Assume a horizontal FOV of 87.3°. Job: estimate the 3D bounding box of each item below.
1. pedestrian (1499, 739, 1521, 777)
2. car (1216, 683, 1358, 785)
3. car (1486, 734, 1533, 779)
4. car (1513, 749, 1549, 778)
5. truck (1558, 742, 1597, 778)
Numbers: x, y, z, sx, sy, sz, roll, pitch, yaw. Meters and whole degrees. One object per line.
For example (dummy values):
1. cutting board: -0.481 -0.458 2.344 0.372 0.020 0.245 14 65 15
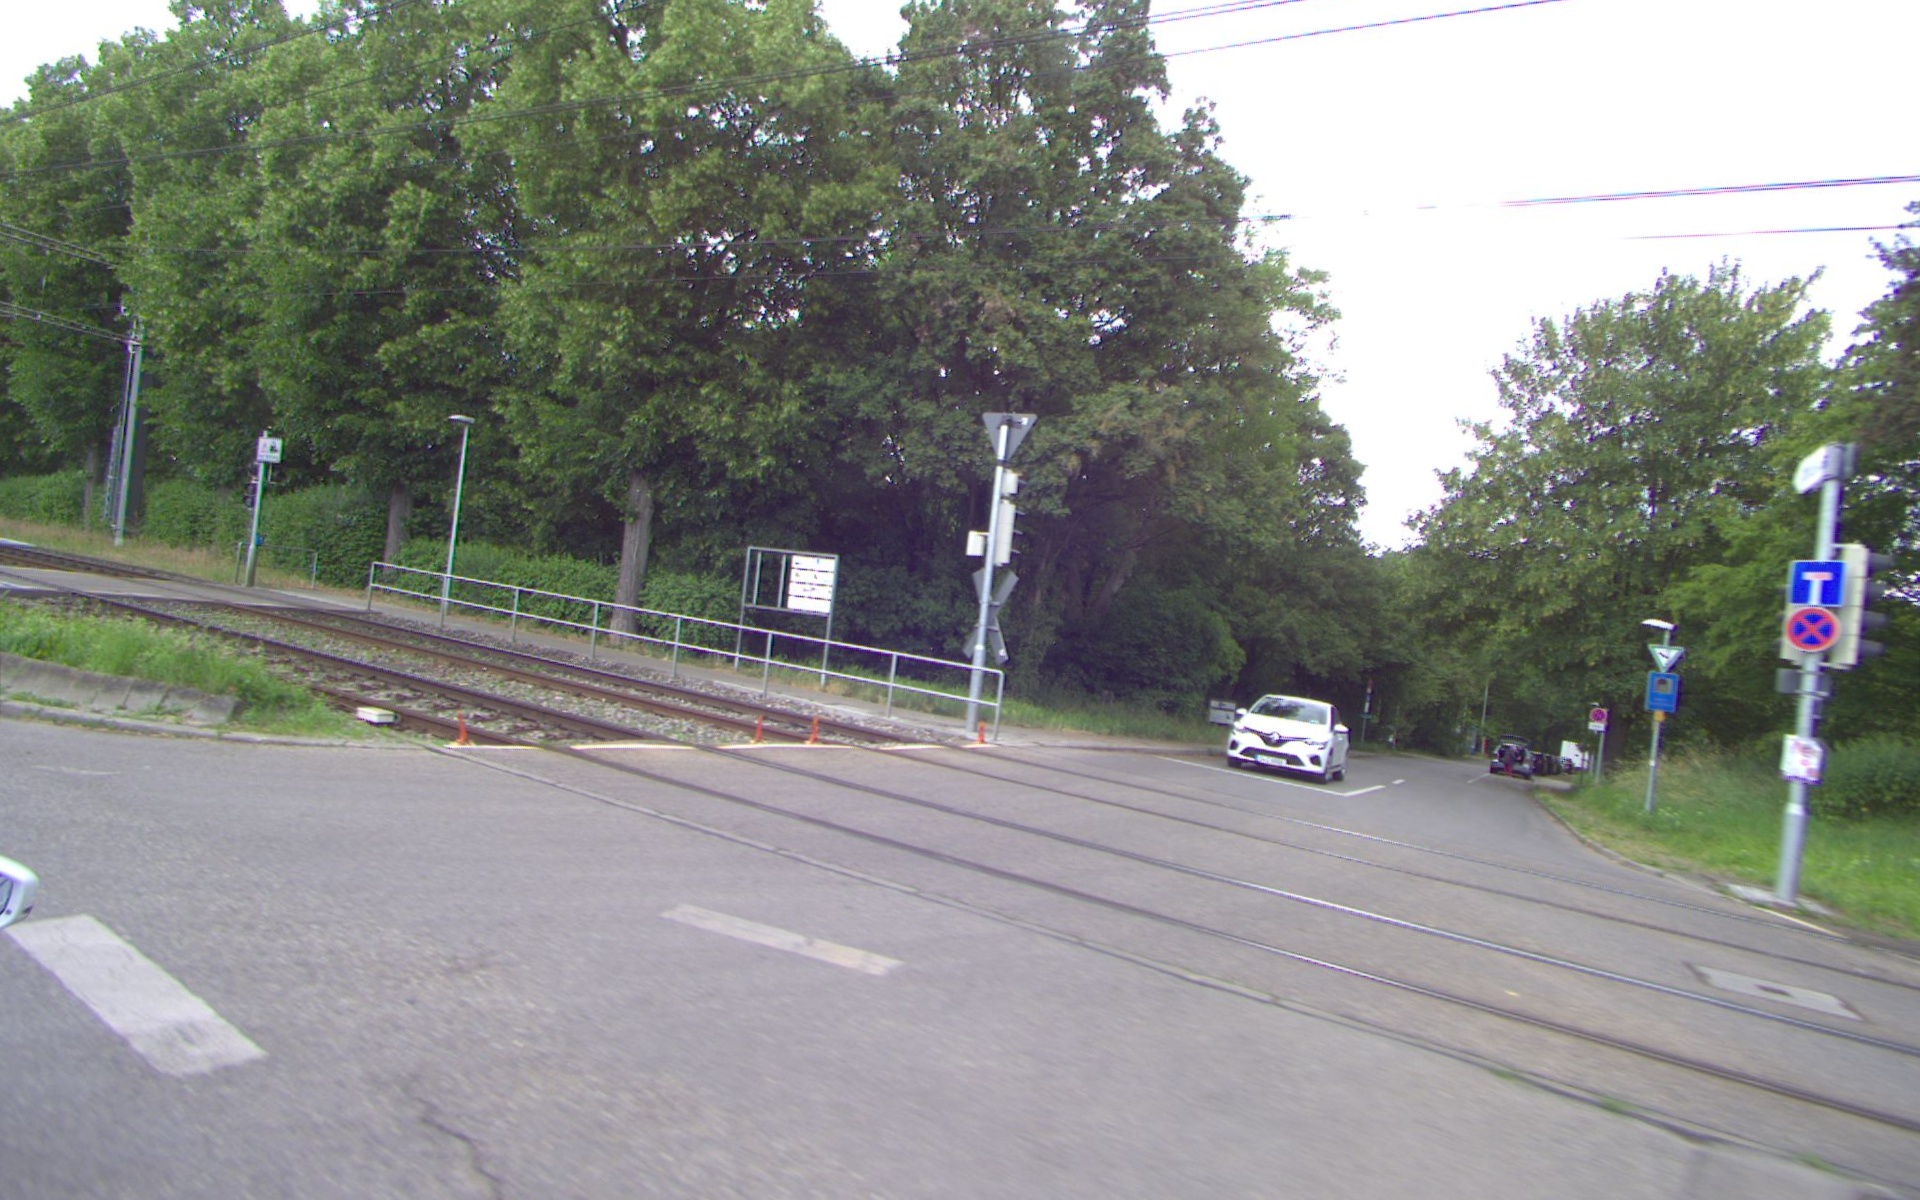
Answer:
1. pedestrian: 26.439 7.603 48.364 0.713 1.685 0.647 8 -2 29
2. car: 6.152 2.487 18.615 1.754 1.398 4.003 8 -4 27
3. car: 27.224 7.740 49.938 1.773 1.847 4.001 8 -4 29
4. car: 37.401 10.661 65.917 1.769 1.526 4.001 8 -4 29
5. truck: 59.161 15.350 96.304 2.380 2.970 7.252 7 -4 37
